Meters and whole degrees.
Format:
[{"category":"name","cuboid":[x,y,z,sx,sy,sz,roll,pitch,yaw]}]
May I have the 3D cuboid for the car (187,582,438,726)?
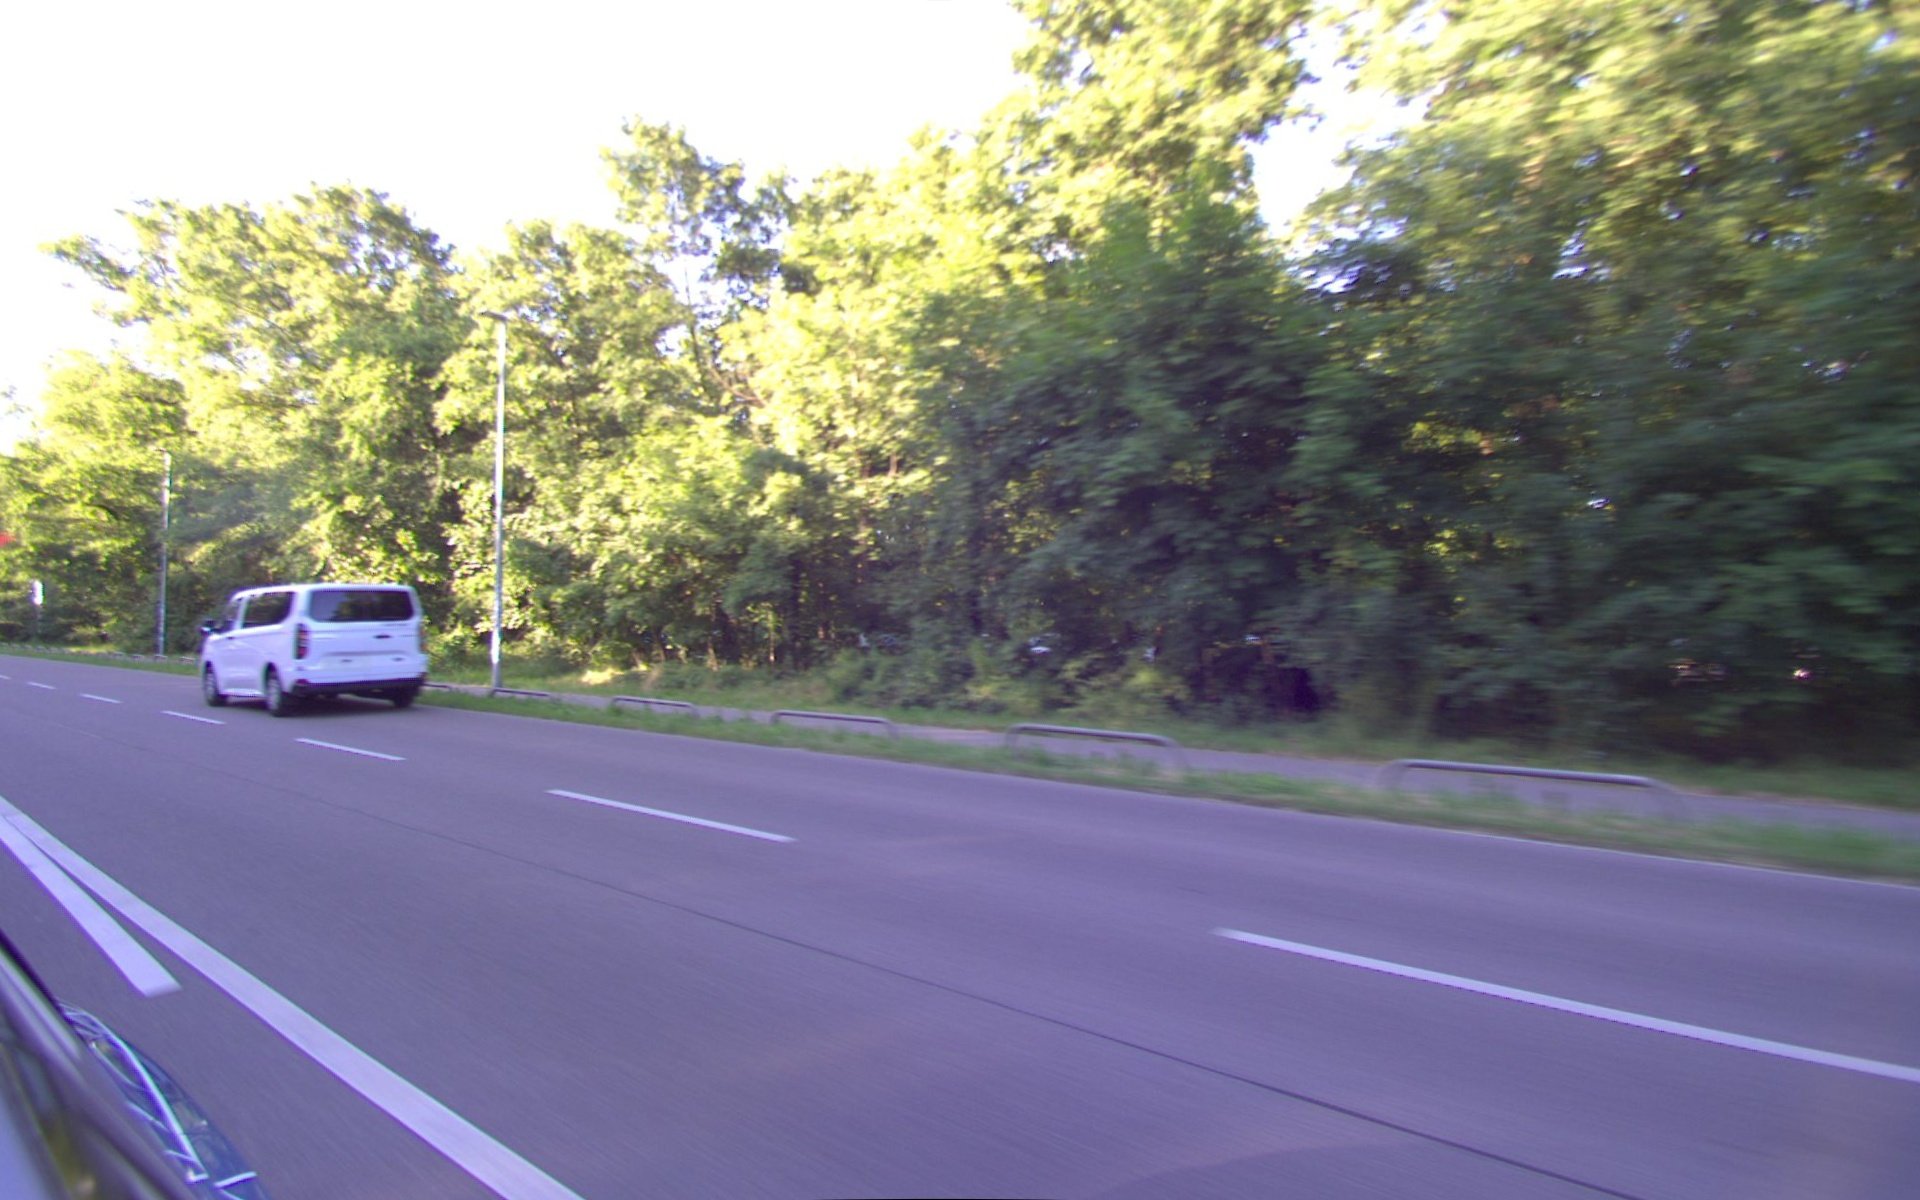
[{"category":"car","cuboid":[-10.619,0.777,16.442,4.992,2.007,1.974,-1,0,39]}]
